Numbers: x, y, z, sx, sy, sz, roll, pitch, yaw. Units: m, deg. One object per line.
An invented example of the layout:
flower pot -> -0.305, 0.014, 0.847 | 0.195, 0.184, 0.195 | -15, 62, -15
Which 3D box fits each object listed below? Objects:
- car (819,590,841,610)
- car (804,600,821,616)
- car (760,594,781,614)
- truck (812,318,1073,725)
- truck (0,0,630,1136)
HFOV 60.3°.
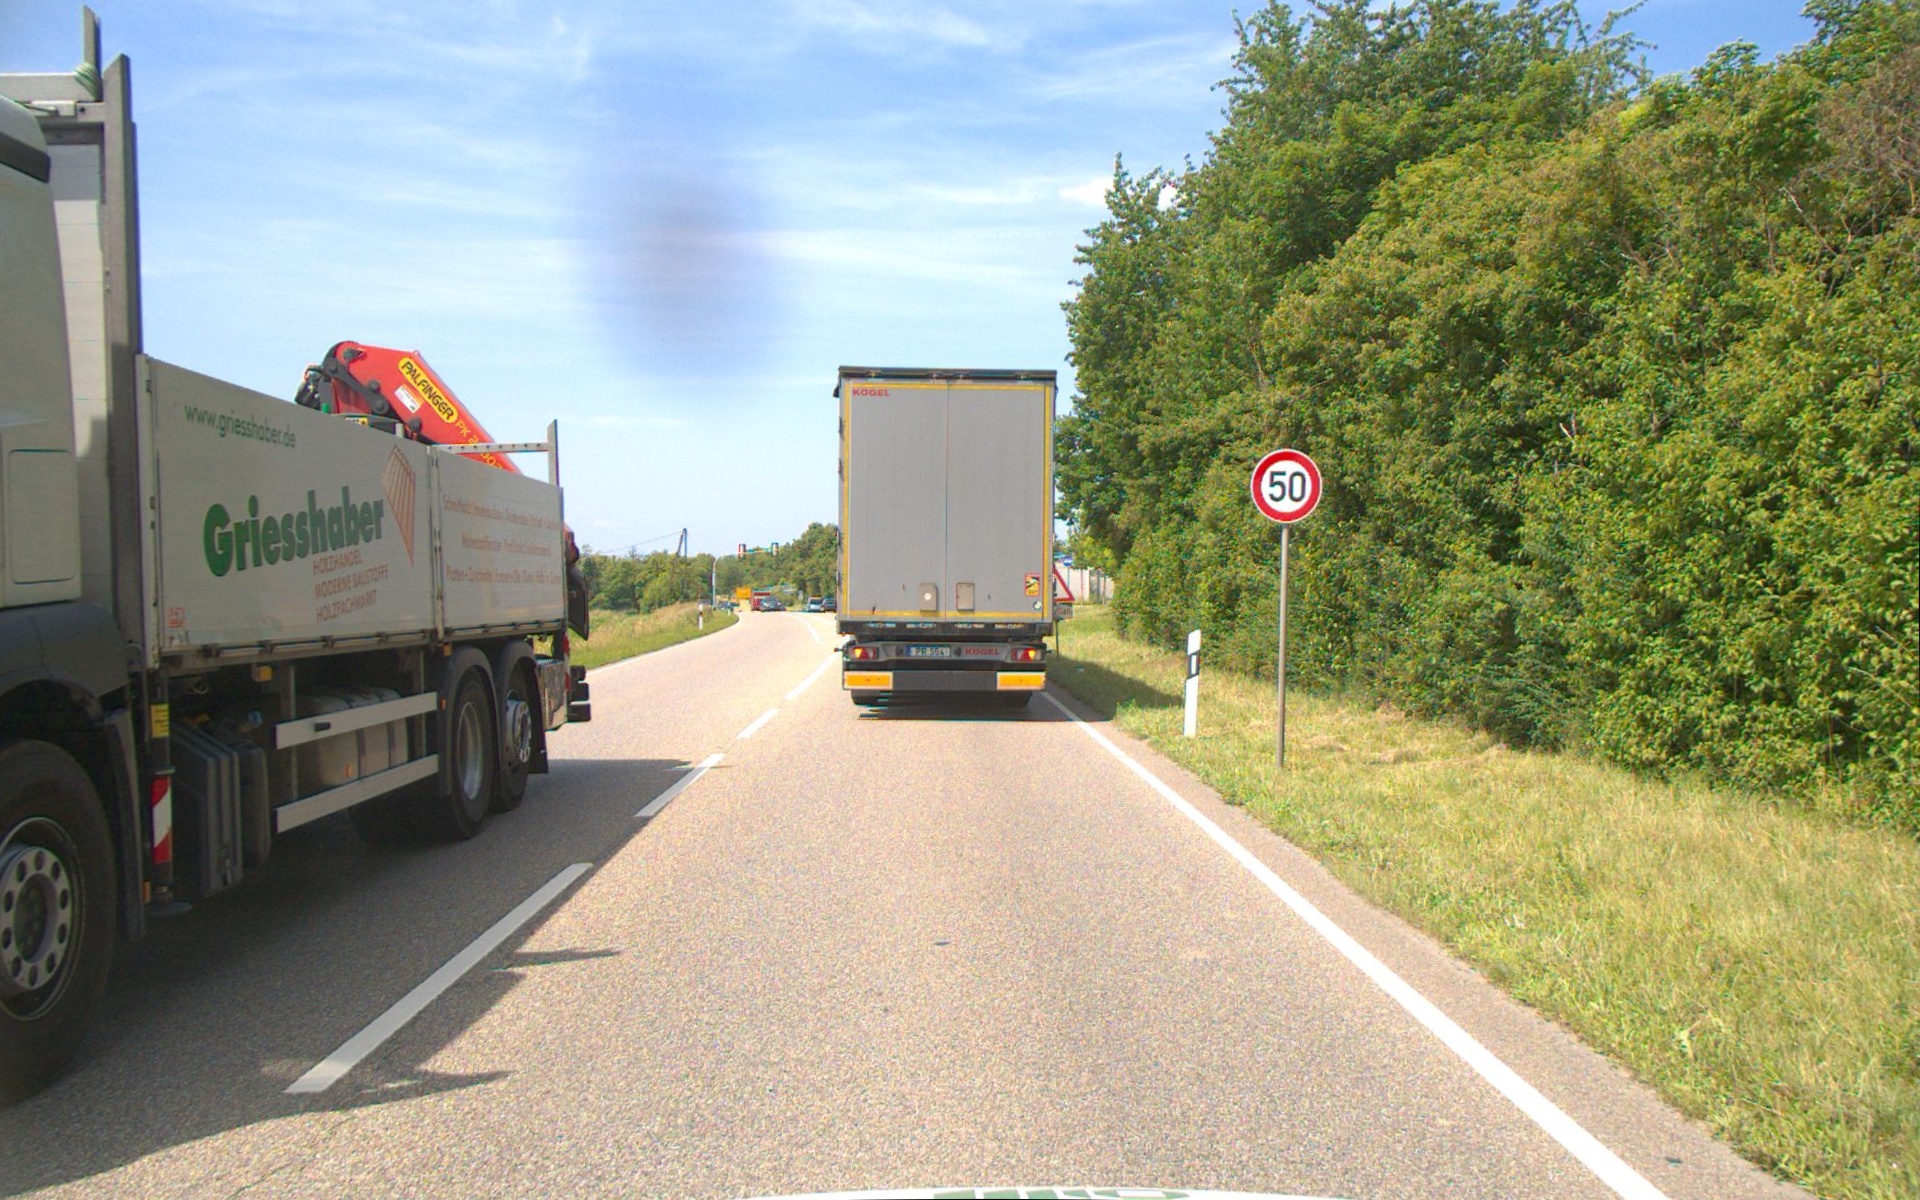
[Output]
car -> -13.581, -0.011, 172.898 | 2.129, 2.049, 4.521 | -2, 0, -5
car -> -17.051, 0.890, 190.925 | 1.855, 1.808, 4.381 | -2, 0, -5
car -> -19.213, 0.410, 167.488 | 1.955, 1.984, 4.497 | -2, 0, -6
truck -> -0.388, -0.903, 22.877 | 2.849, 4.487, 8.855 | 1, 0, -3
truck -> -4.168, -0.335, 9.057 | 2.701, 3.638, 11.061 | -2, 0, -2
